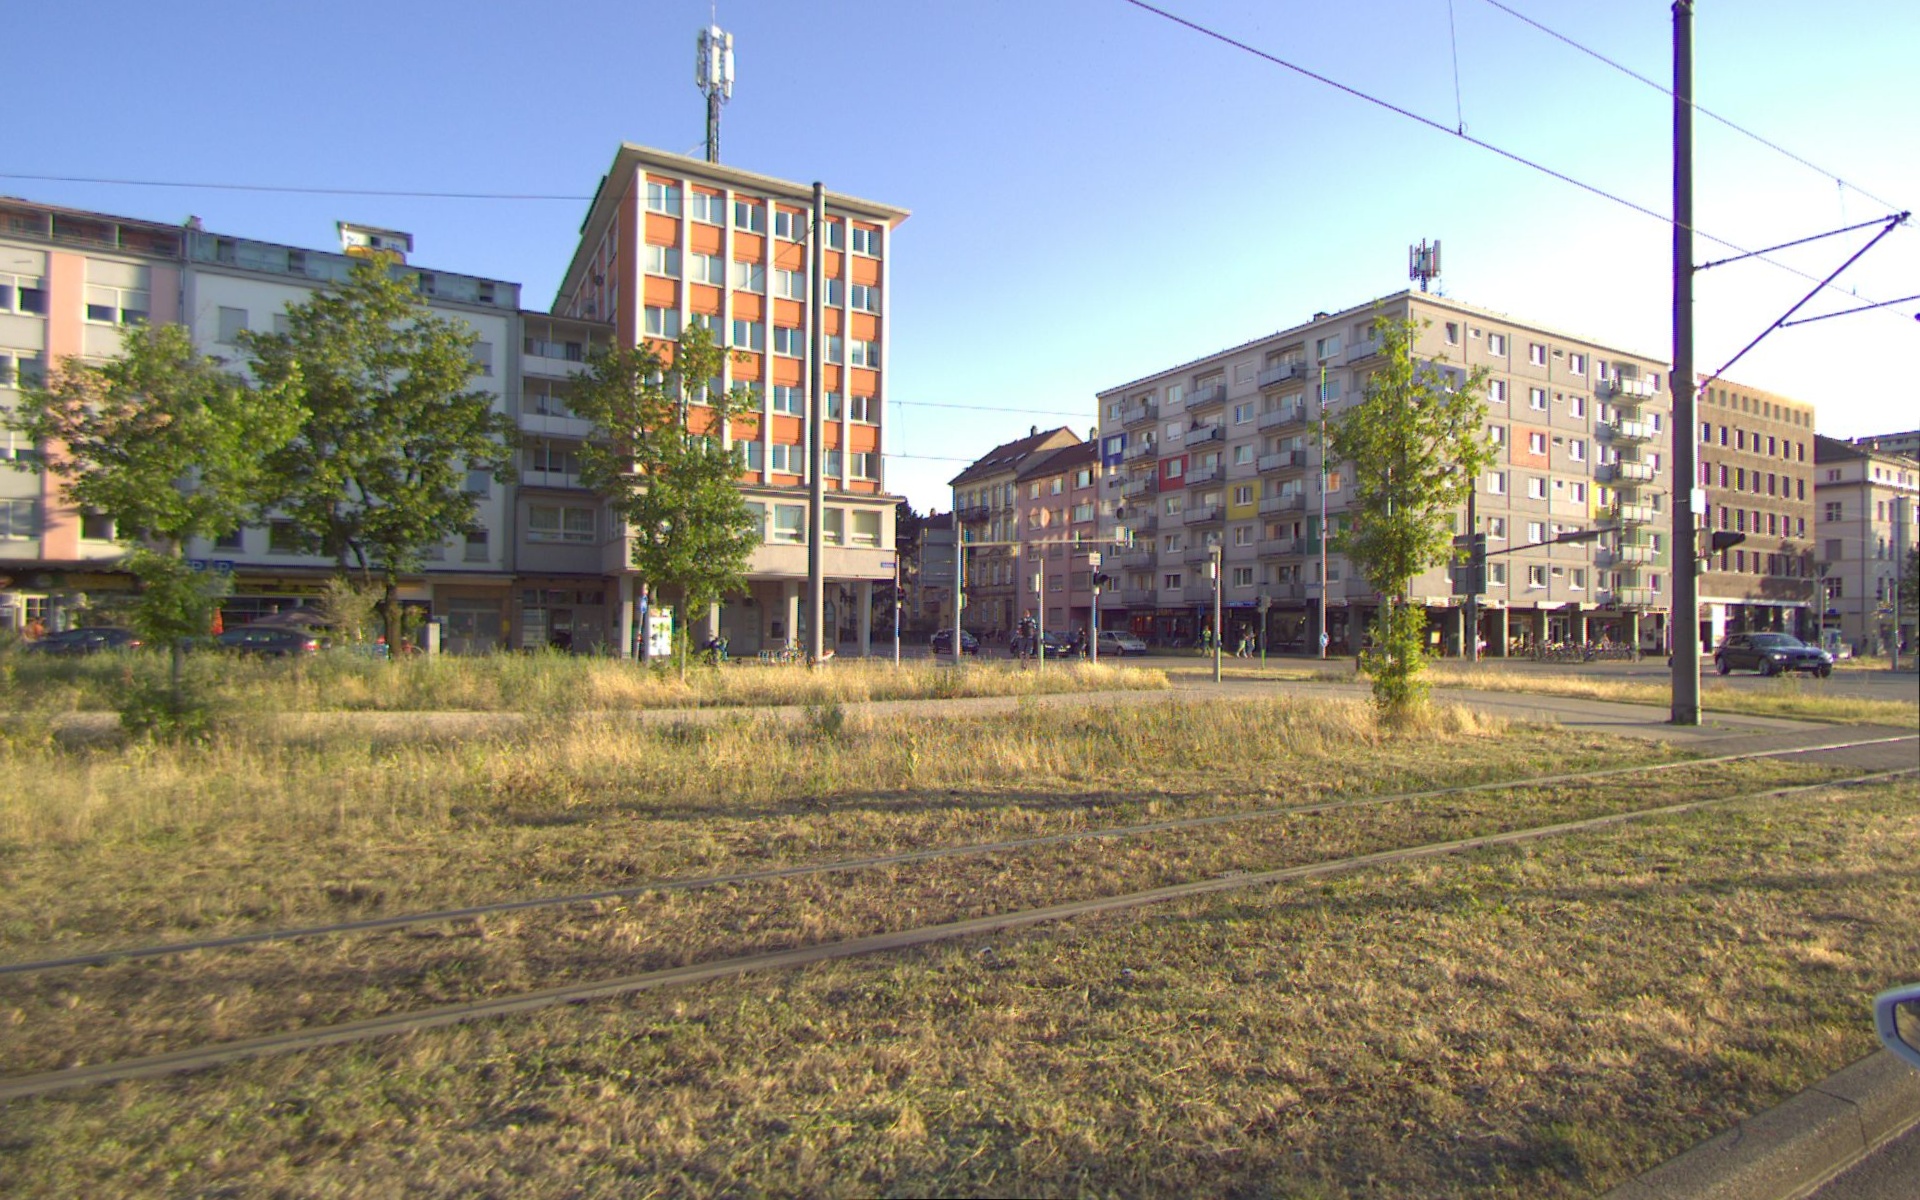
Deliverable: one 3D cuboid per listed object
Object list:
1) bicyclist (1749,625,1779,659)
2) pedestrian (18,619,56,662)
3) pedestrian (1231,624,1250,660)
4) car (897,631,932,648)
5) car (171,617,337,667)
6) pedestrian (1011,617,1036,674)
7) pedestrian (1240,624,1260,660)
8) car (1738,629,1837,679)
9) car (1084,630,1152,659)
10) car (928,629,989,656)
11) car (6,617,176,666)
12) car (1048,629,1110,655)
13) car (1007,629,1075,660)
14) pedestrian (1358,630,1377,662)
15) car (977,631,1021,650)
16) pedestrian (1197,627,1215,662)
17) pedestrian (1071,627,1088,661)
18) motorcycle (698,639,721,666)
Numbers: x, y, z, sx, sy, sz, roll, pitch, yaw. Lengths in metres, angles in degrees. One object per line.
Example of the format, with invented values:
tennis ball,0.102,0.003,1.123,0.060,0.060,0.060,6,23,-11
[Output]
bicyclist,34.996,1.824,43.742,0.650,1.462,0.856,1,1,6
pedestrian,-34.146,1.479,37.180,0.844,1.548,1.112,0,-1,-32
pedestrian,15.169,2.262,54.299,0.728,1.876,0.702,0,-1,-29
car,-4.530,3.898,99.275,1.785,1.606,3.841,0,-1,-34
car,-23.577,1.383,33.675,4.212,1.547,1.758,-1,-1,-7
pedestrian,1.997,1.436,31.854,0.638,1.786,0.721,-1,-1,-8
pedestrian,15.494,2.239,53.619,0.812,1.872,0.600,0,-1,-29
car,27.427,1.739,33.424,1.686,1.453,3.995,0,0,27
car,9.265,2.571,59.116,1.785,1.606,3.841,0,-1,-34
car,-0.128,2.745,65.518,1.968,1.606,4.253,0,-1,-34
car,-28.662,1.351,33.242,3.926,1.547,1.758,-1,-1,-7
car,7.437,2.607,63.042,1.785,1.606,3.841,0,-1,-34
car,4.440,2.450,55.562,1.785,1.606,3.841,0,-1,-34
pedestrian,21.830,2.452,53.825,0.767,1.692,0.741,-1,-1,7
car,3.494,3.600,89.974,1.785,1.606,4.259,0,-1,-34
pedestrian,13.272,2.396,54.179,0.673,1.872,0.630,0,-1,-29
pedestrian,5.855,2.169,49.265,0.608,1.651,0.512,0,-1,-29
motorcycle,-10.536,2.211,42.215,0.525,1.082,1.443,0,-1,-30
